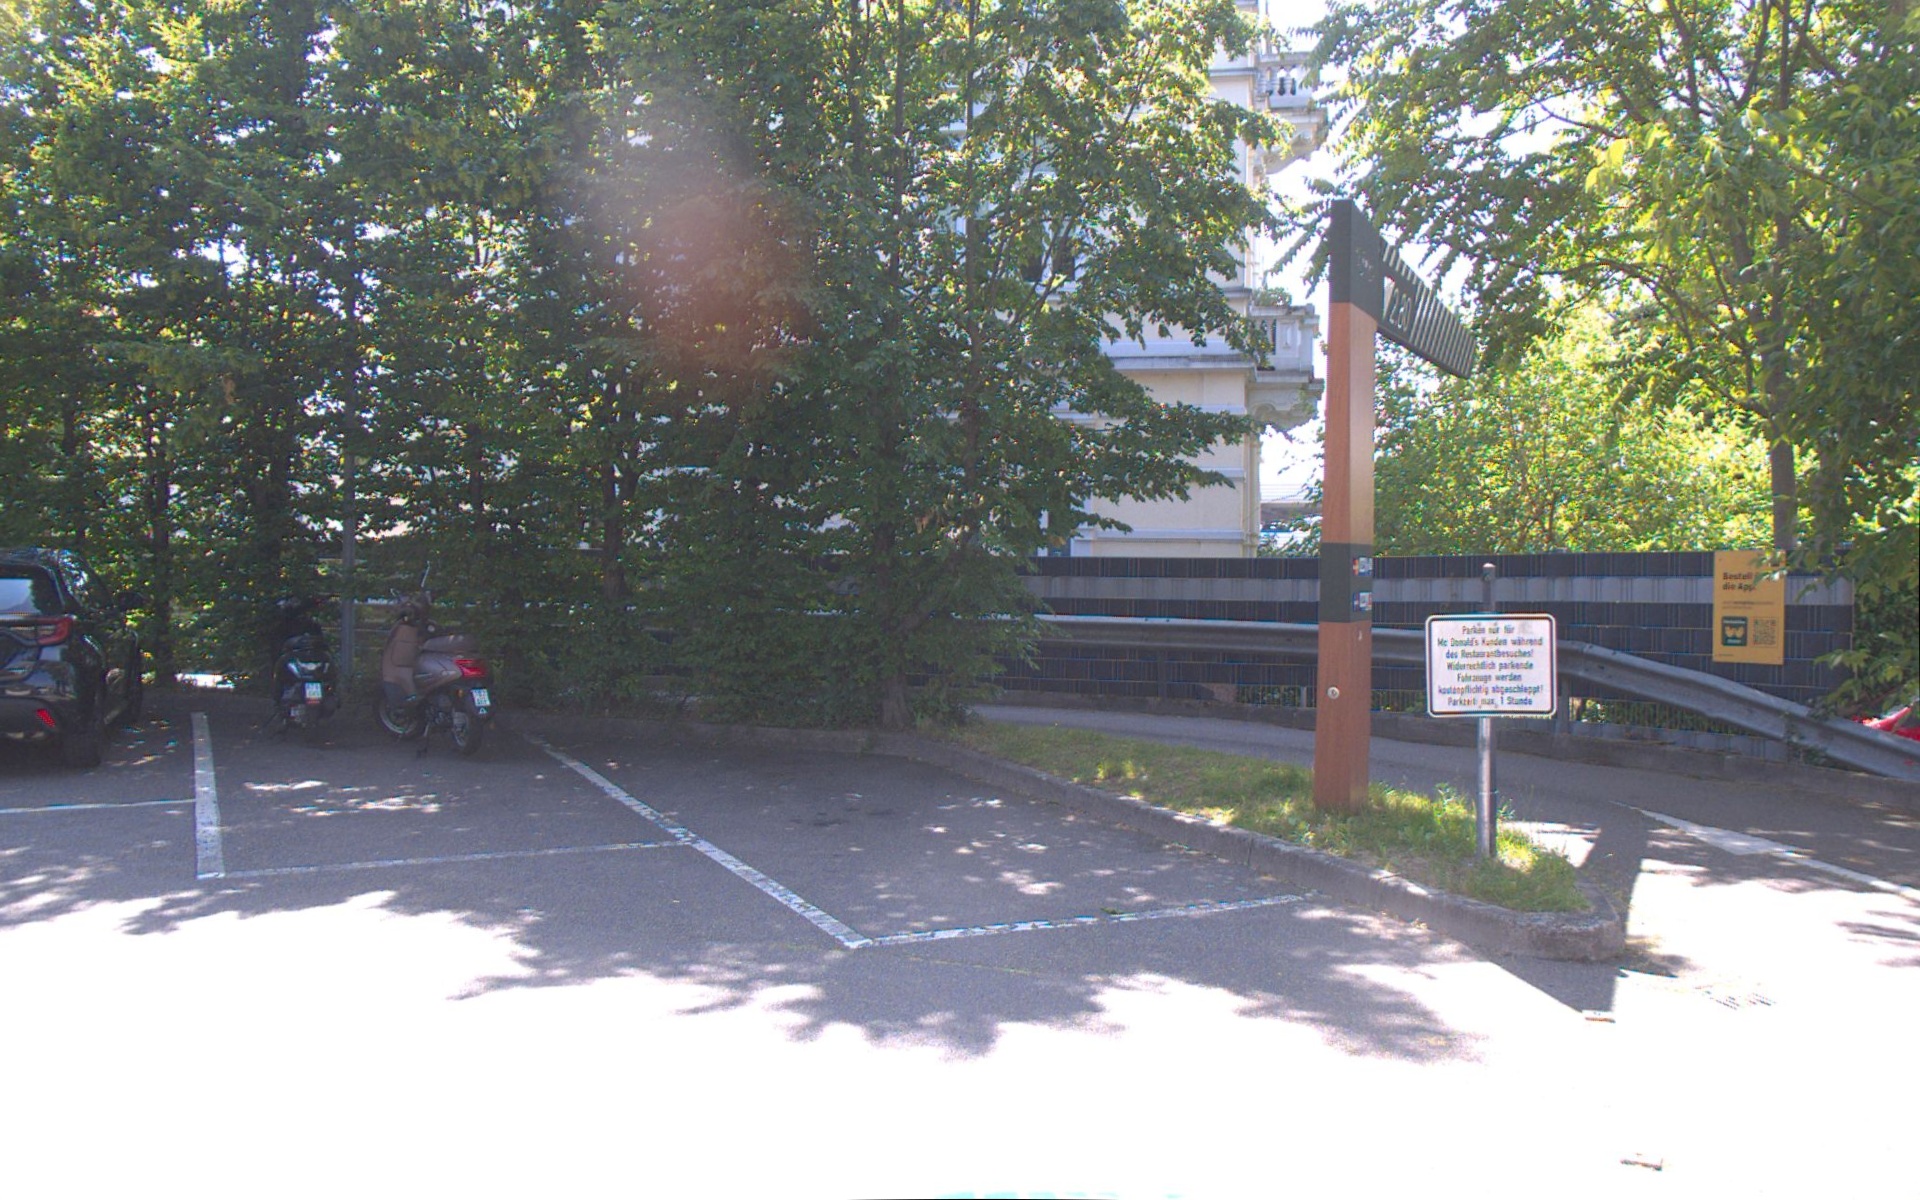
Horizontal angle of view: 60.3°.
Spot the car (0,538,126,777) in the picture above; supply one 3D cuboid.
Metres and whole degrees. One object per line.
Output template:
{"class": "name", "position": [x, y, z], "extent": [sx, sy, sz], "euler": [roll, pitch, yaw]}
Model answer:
{"class": "car", "position": [-7.312, 0.313, 12.366], "extent": [1.633, 1.495, 3.878], "euler": [-1, 3, -23]}

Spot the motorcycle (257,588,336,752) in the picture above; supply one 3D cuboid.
{"class": "motorcycle", "position": [-5.191, 0.507, 12.898], "extent": [0.467, 1.160, 1.592], "euler": [0, 2, -26]}

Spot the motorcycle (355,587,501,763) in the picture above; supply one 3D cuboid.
{"class": "motorcycle", "position": [-3.960, 0.512, 12.250], "extent": [0.564, 1.189, 1.585], "euler": [-1, 2, -36]}

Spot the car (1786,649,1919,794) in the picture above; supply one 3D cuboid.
{"class": "car", "position": [10.894, 1.303, 17.801], "extent": [3.331, 1.402, 1.488], "euler": [0, 2, 15]}
